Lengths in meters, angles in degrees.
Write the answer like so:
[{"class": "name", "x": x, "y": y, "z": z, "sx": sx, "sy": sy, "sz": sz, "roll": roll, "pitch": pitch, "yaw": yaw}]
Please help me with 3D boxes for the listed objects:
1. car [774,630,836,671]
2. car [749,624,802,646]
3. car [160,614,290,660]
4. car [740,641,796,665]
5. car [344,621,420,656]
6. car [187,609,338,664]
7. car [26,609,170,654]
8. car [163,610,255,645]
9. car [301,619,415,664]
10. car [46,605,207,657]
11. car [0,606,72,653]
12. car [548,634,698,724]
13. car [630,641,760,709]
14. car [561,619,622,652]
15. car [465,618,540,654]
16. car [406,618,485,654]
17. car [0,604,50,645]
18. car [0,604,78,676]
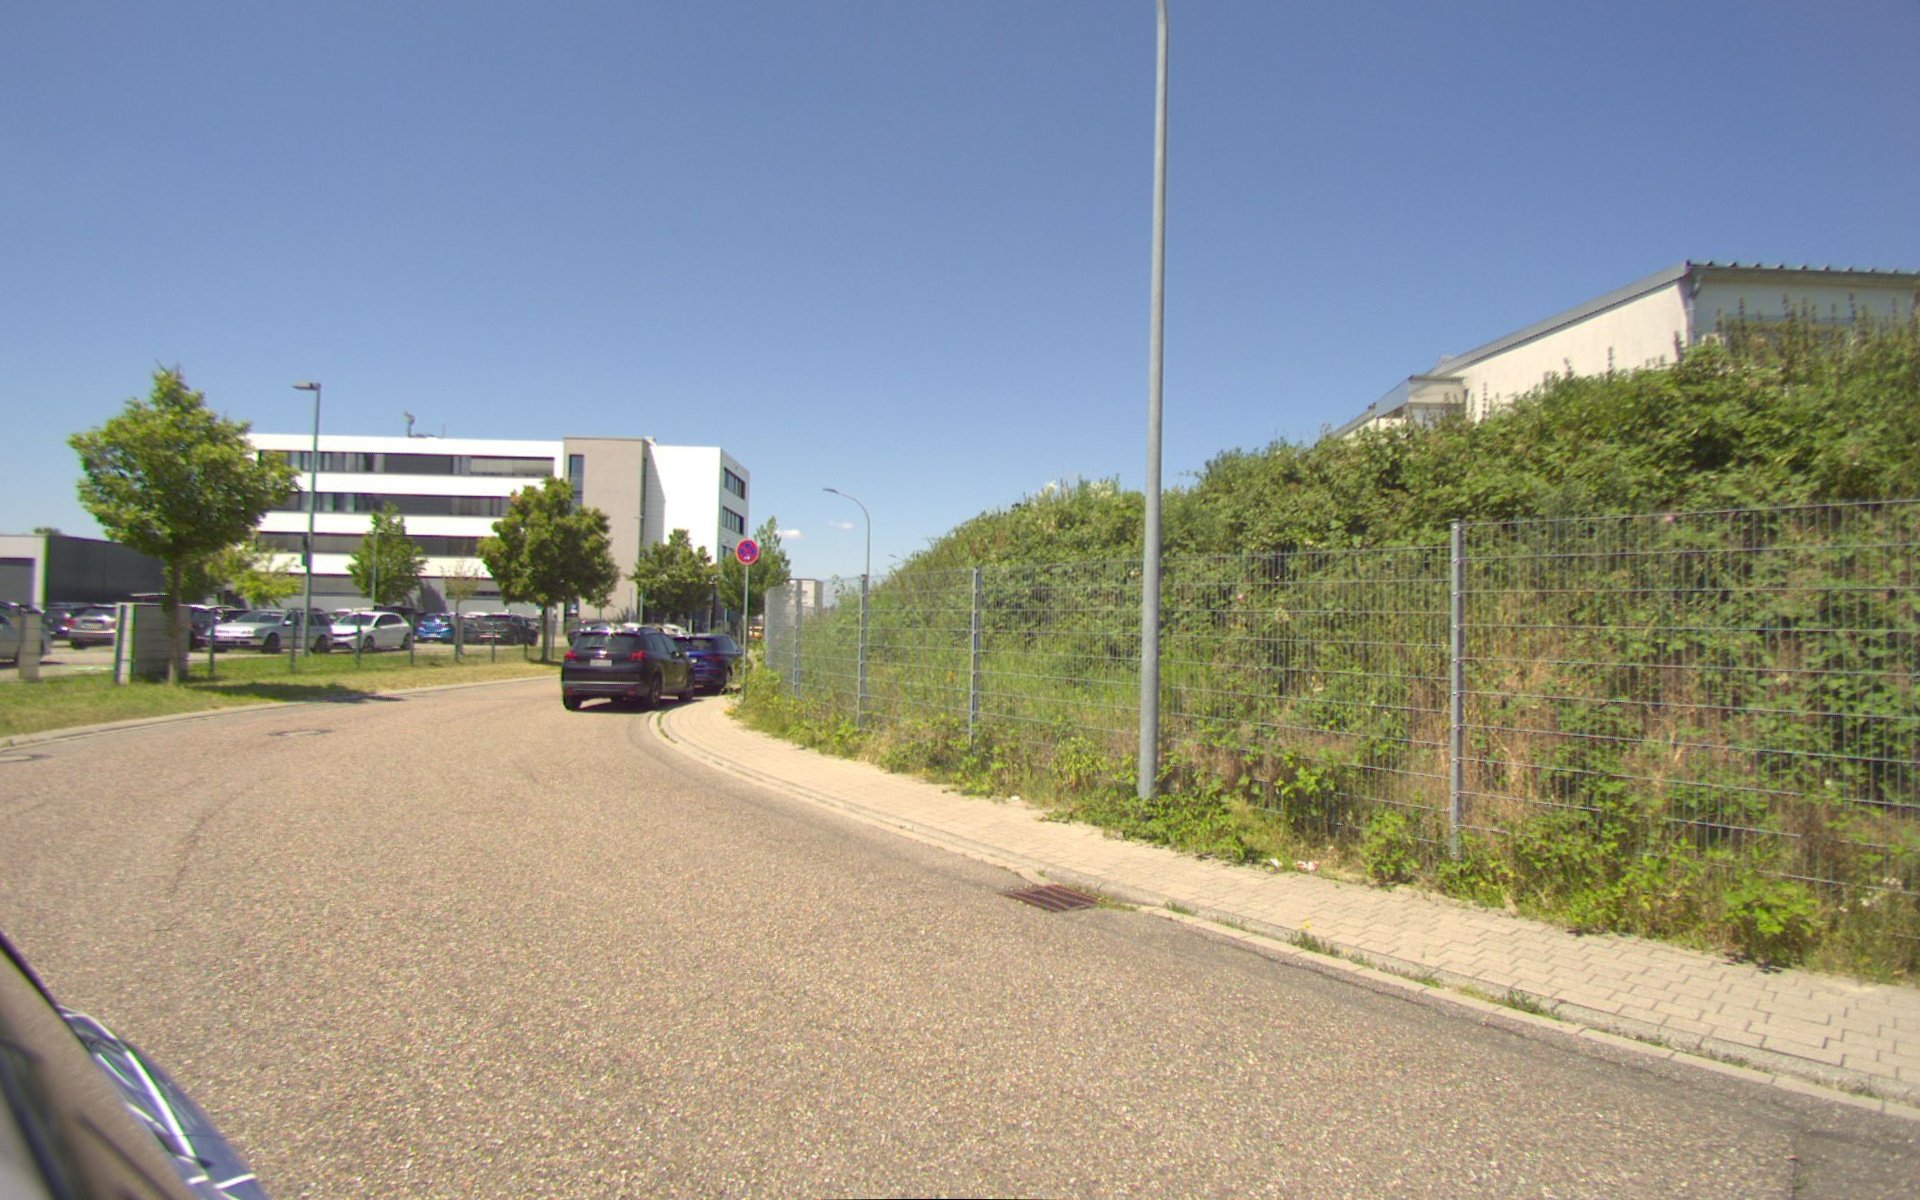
[{"class": "car", "x": -6.373, "y": 2.100, "z": 42.107, "sx": 1.830, "sy": 1.531, "sz": 3.945, "roll": 2, "pitch": -3, "yaw": 2}, {"class": "car", "x": -14.804, "y": 2.829, "z": 81.160, "sx": 3.943, "sy": 1.653, "sz": 1.891, "roll": -1, "pitch": -2, "yaw": -1}, {"class": "car", "x": -26.905, "y": 1.400, "z": 37.215, "sx": 1.829, "sy": 1.510, "sz": 3.923, "roll": 2, "pitch": -4, "yaw": 1}, {"class": "car", "x": -14.625, "y": 4.049, "z": 77.348, "sx": 3.943, "sy": 1.716, "sz": 1.891, "roll": -1, "pitch": -2, "yaw": -1}, {"class": "car", "x": -31.683, "y": 2.134, "z": 55.598, "sx": 1.807, "sy": 1.657, "sz": 3.922, "roll": -1, "pitch": -6, "yaw": 1}, {"class": "car", "x": -21.794, "y": 1.211, "z": 31.855, "sx": 1.828, "sy": 1.510, "sz": 4.291, "roll": 1, "pitch": -5, "yaw": -2}, {"class": "car", "x": -31.346, "y": 1.184, "z": 36.975, "sx": 1.829, "sy": 1.510, "sz": 3.923, "roll": 1, "pitch": -3, "yaw": 1}, {"class": "car", "x": -39.510, "y": 1.481, "z": 53.370, "sx": 1.807, "sy": 1.549, "sz": 3.922, "roll": -1, "pitch": -5, "yaw": 1}, {"class": "car", "x": -22.066, "y": 1.490, "z": 37.285, "sx": 1.829, "sy": 1.510, "sz": 3.924, "roll": 1, "pitch": -1, "yaw": 1}, {"class": "car", "x": -26.497, "y": 1.027, "z": 32.360, "sx": 1.829, "sy": 1.510, "sz": 3.923, "roll": 1, "pitch": -3, "yaw": 1}, {"class": "car", "x": -31.418, "y": 0.942, "z": 32.737, "sx": 1.829, "sy": 1.510, "sz": 3.923, "roll": 1, "pitch": -3, "yaw": 1}, {"class": "car", "x": -6.472, "y": 1.493, "z": 19.911, "sx": 1.635, "sy": 1.567, "sz": 4.133, "roll": 1, "pitch": -3, "yaw": -1}, {"class": "car", "x": -6.411, "y": 1.797, "z": 25.002, "sx": 1.915, "sy": 1.466, "sz": 4.278, "roll": 2, "pitch": -3, "yaw": 2}, {"class": "car", "x": -19.432, "y": 1.911, "z": 53.552, "sx": 1.806, "sy": 1.466, "sz": 3.924, "roll": -1, "pitch": -5, "yaw": -1}, {"class": "car", "x": -21.963, "y": 1.778, "z": 48.755, "sx": 1.807, "sy": 1.586, "sz": 3.925, "roll": 2, "pitch": -3, "yaw": 0}, {"class": "car", "x": -24.630, "y": 1.757, "z": 48.611, "sx": 1.806, "sy": 1.466, "sz": 3.924, "roll": -1, "pitch": -5, "yaw": -1}, {"class": "car", "x": -36.556, "y": 0.893, "z": 37.665, "sx": 1.829, "sy": 1.510, "sz": 3.924, "roll": 1, "pitch": -1, "yaw": 1}, {"class": "car", "x": -21.554, "y": 0.864, "z": 21.272, "sx": 1.829, "sy": 1.510, "sz": 4.856, "roll": 1, "pitch": 0, "yaw": 0}]
